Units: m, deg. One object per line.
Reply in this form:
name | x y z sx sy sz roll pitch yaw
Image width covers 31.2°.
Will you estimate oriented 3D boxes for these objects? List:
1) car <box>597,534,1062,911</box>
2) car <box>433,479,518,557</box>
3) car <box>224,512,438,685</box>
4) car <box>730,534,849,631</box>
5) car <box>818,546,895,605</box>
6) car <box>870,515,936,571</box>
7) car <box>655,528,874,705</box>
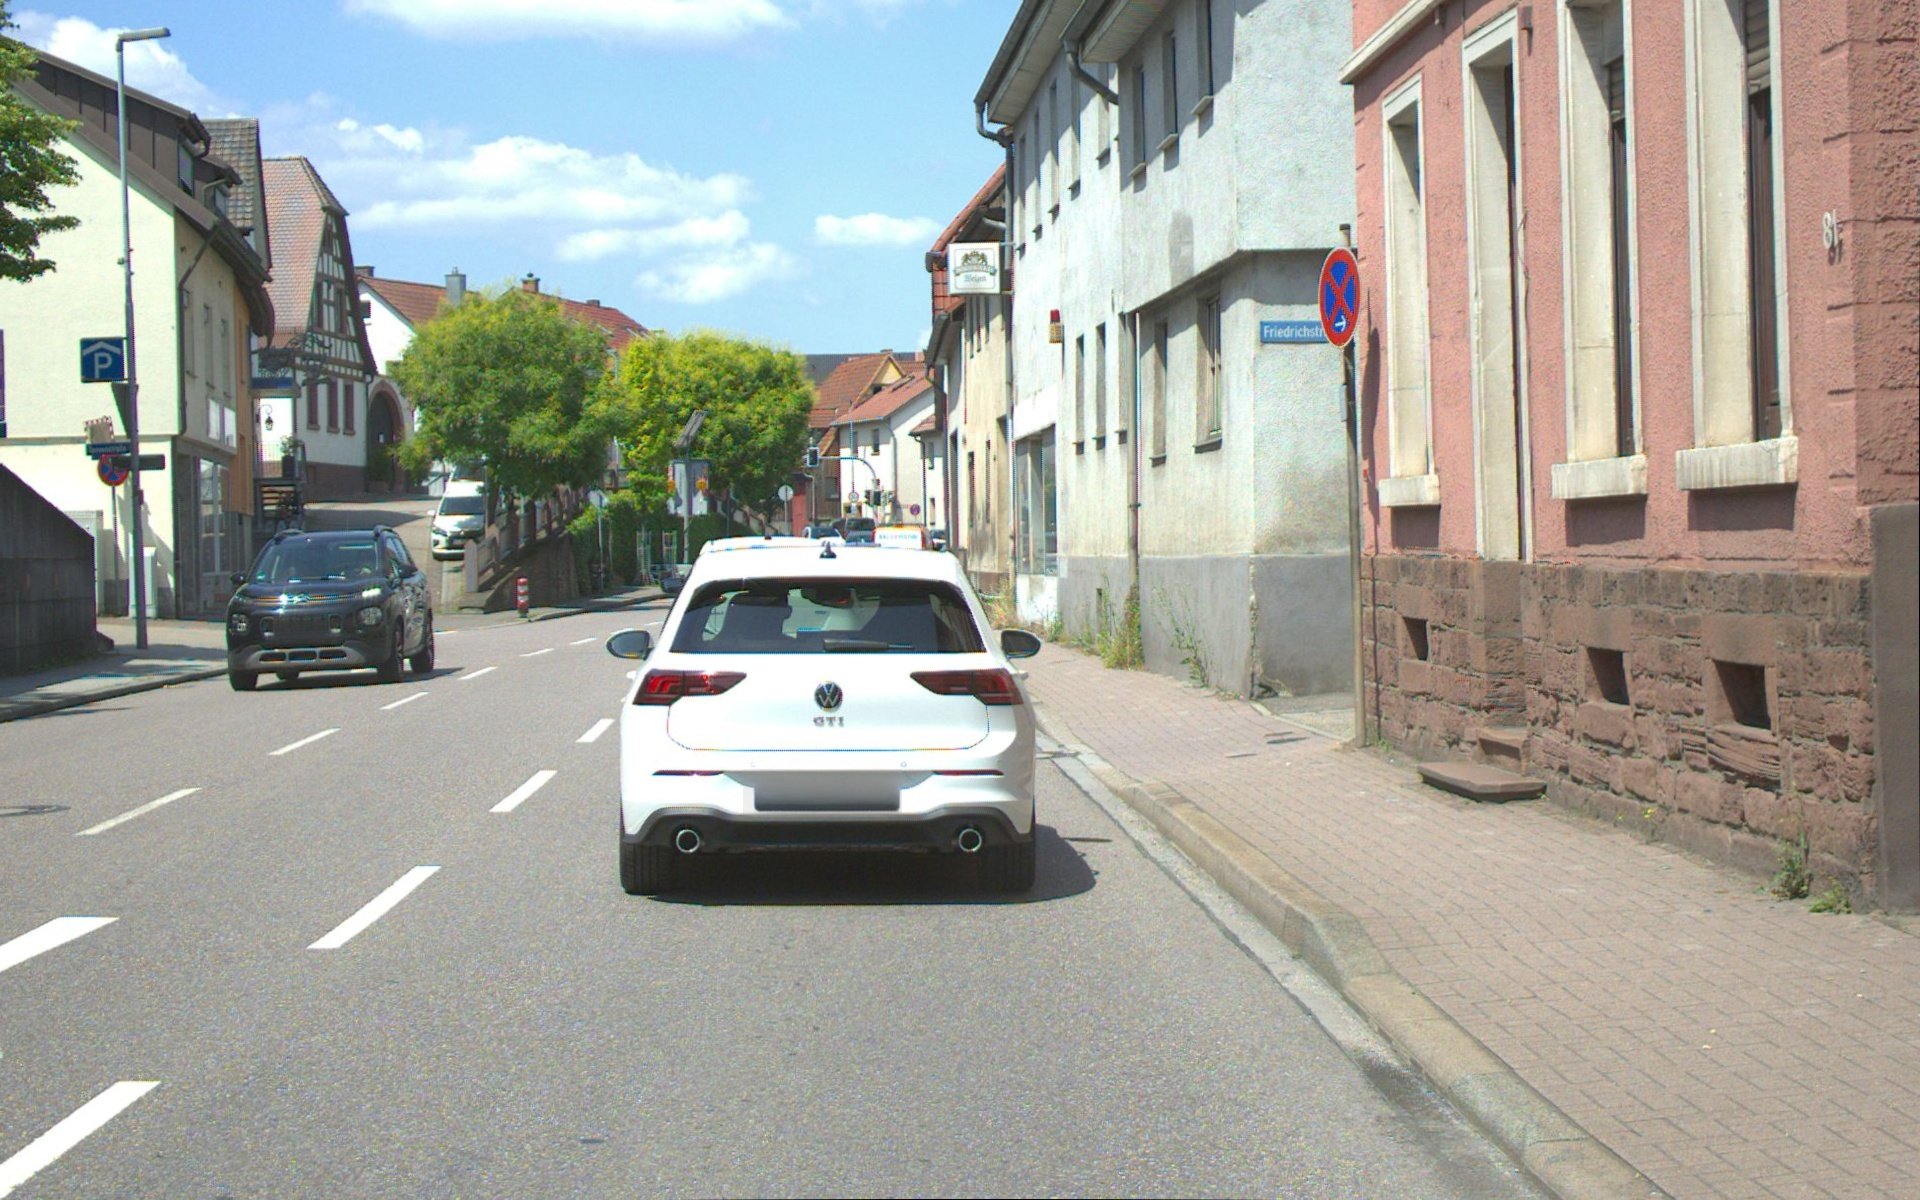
car | -0.461 0.458 15.636 1.808 1.462 4.000 1 1 2
car | -11.784 -2.015 83.773 1.693 1.537 3.857 -1 7 -3
car | -6.594 -0.050 36.397 1.669 1.652 4.018 -3 1 -3
car | -2.732 -0.306 54.870 1.807 1.462 4.001 1 1 -3
car | -2.810 -0.687 94.387 1.775 1.533 4.000 -1 1 3
car | -1.803 -1.834 109.717 1.775 1.759 4.000 -1 1 4
car | -1.789 0.109 30.819 1.807 1.462 4.001 1 1 -4
